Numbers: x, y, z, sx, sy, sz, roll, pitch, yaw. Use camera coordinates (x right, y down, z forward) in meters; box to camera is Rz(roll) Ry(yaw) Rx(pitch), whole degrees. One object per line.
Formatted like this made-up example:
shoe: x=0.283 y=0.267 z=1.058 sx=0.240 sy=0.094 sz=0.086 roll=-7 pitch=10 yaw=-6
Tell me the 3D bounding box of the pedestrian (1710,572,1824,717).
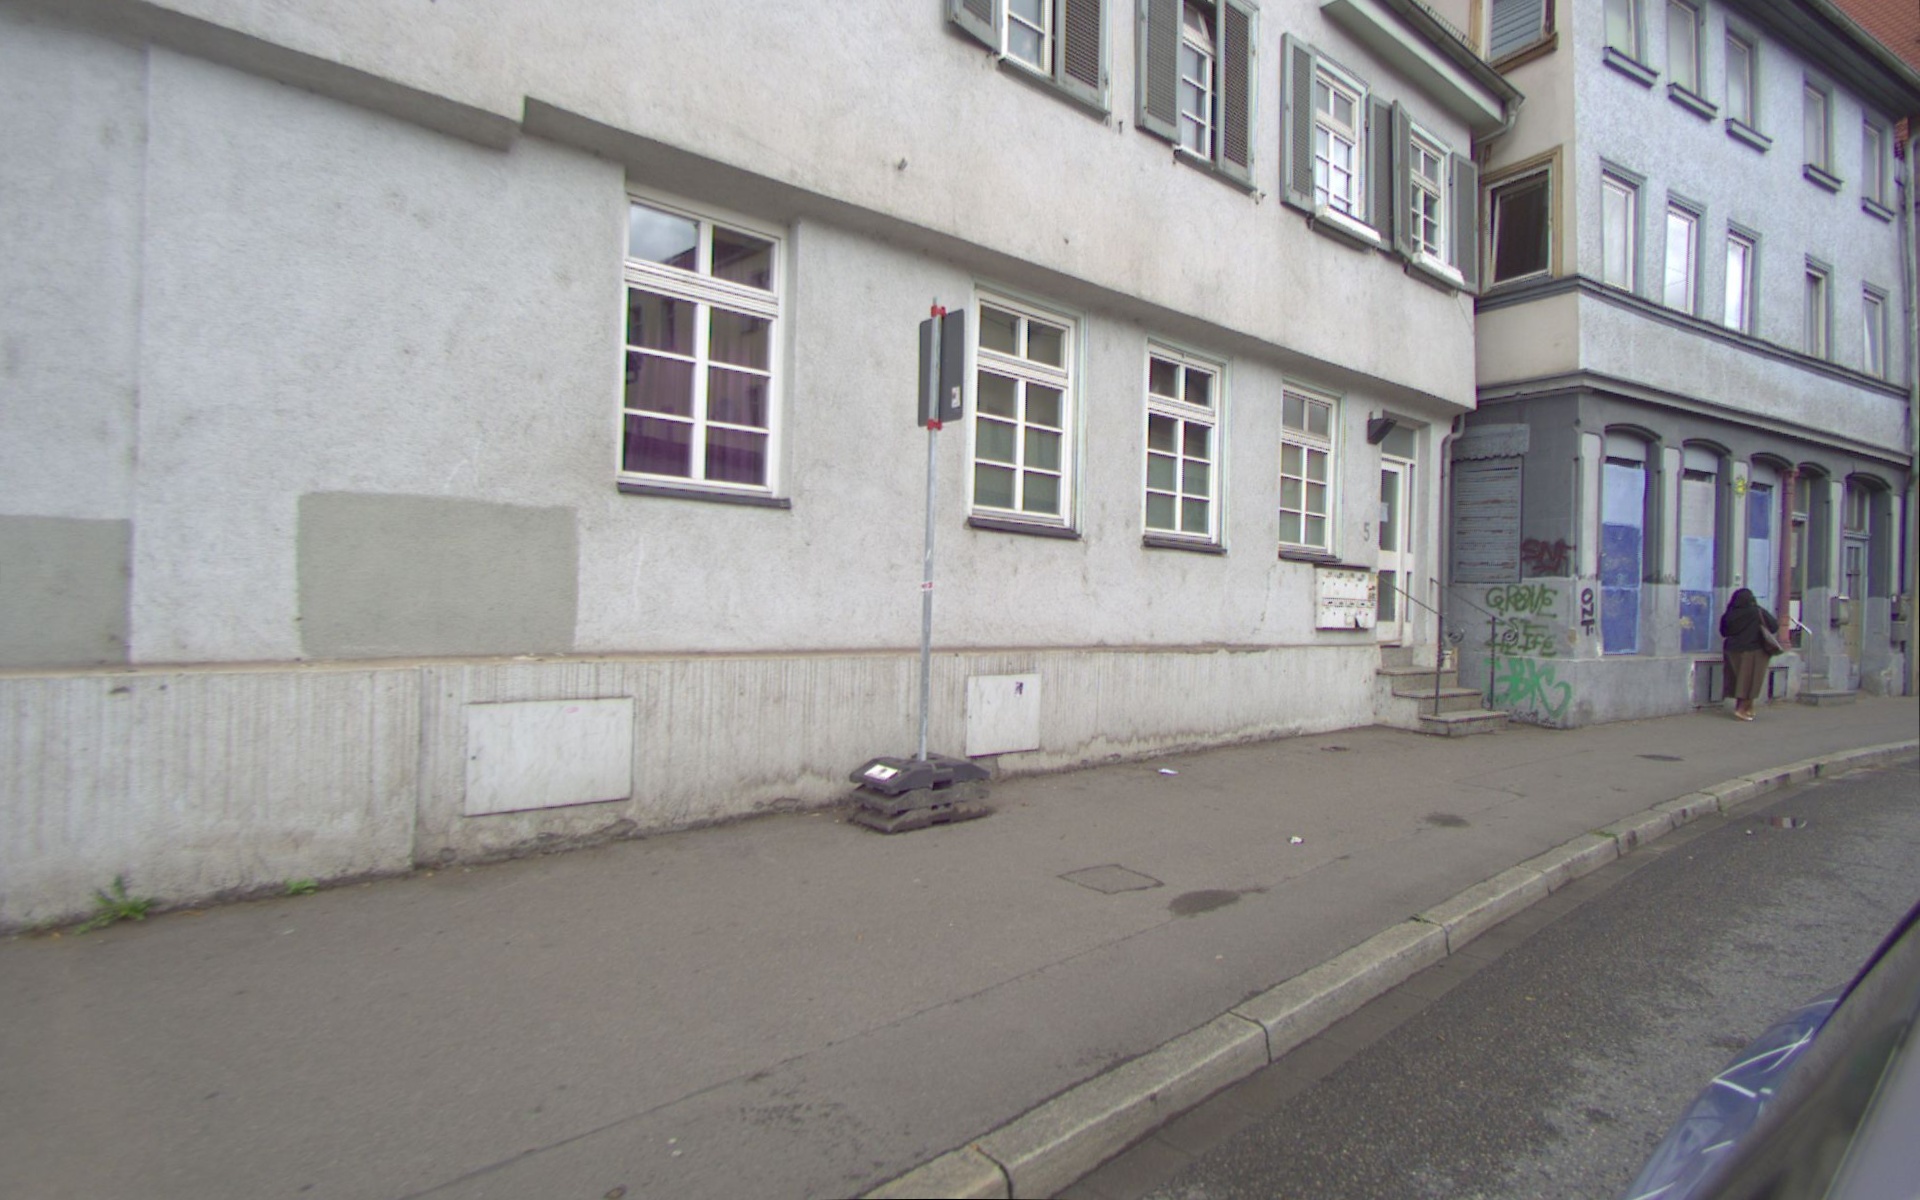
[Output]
pedestrian: x=9.912 y=0.529 z=12.445 sx=0.793 sy=1.687 sz=0.758 roll=2 pitch=2 yaw=-31
